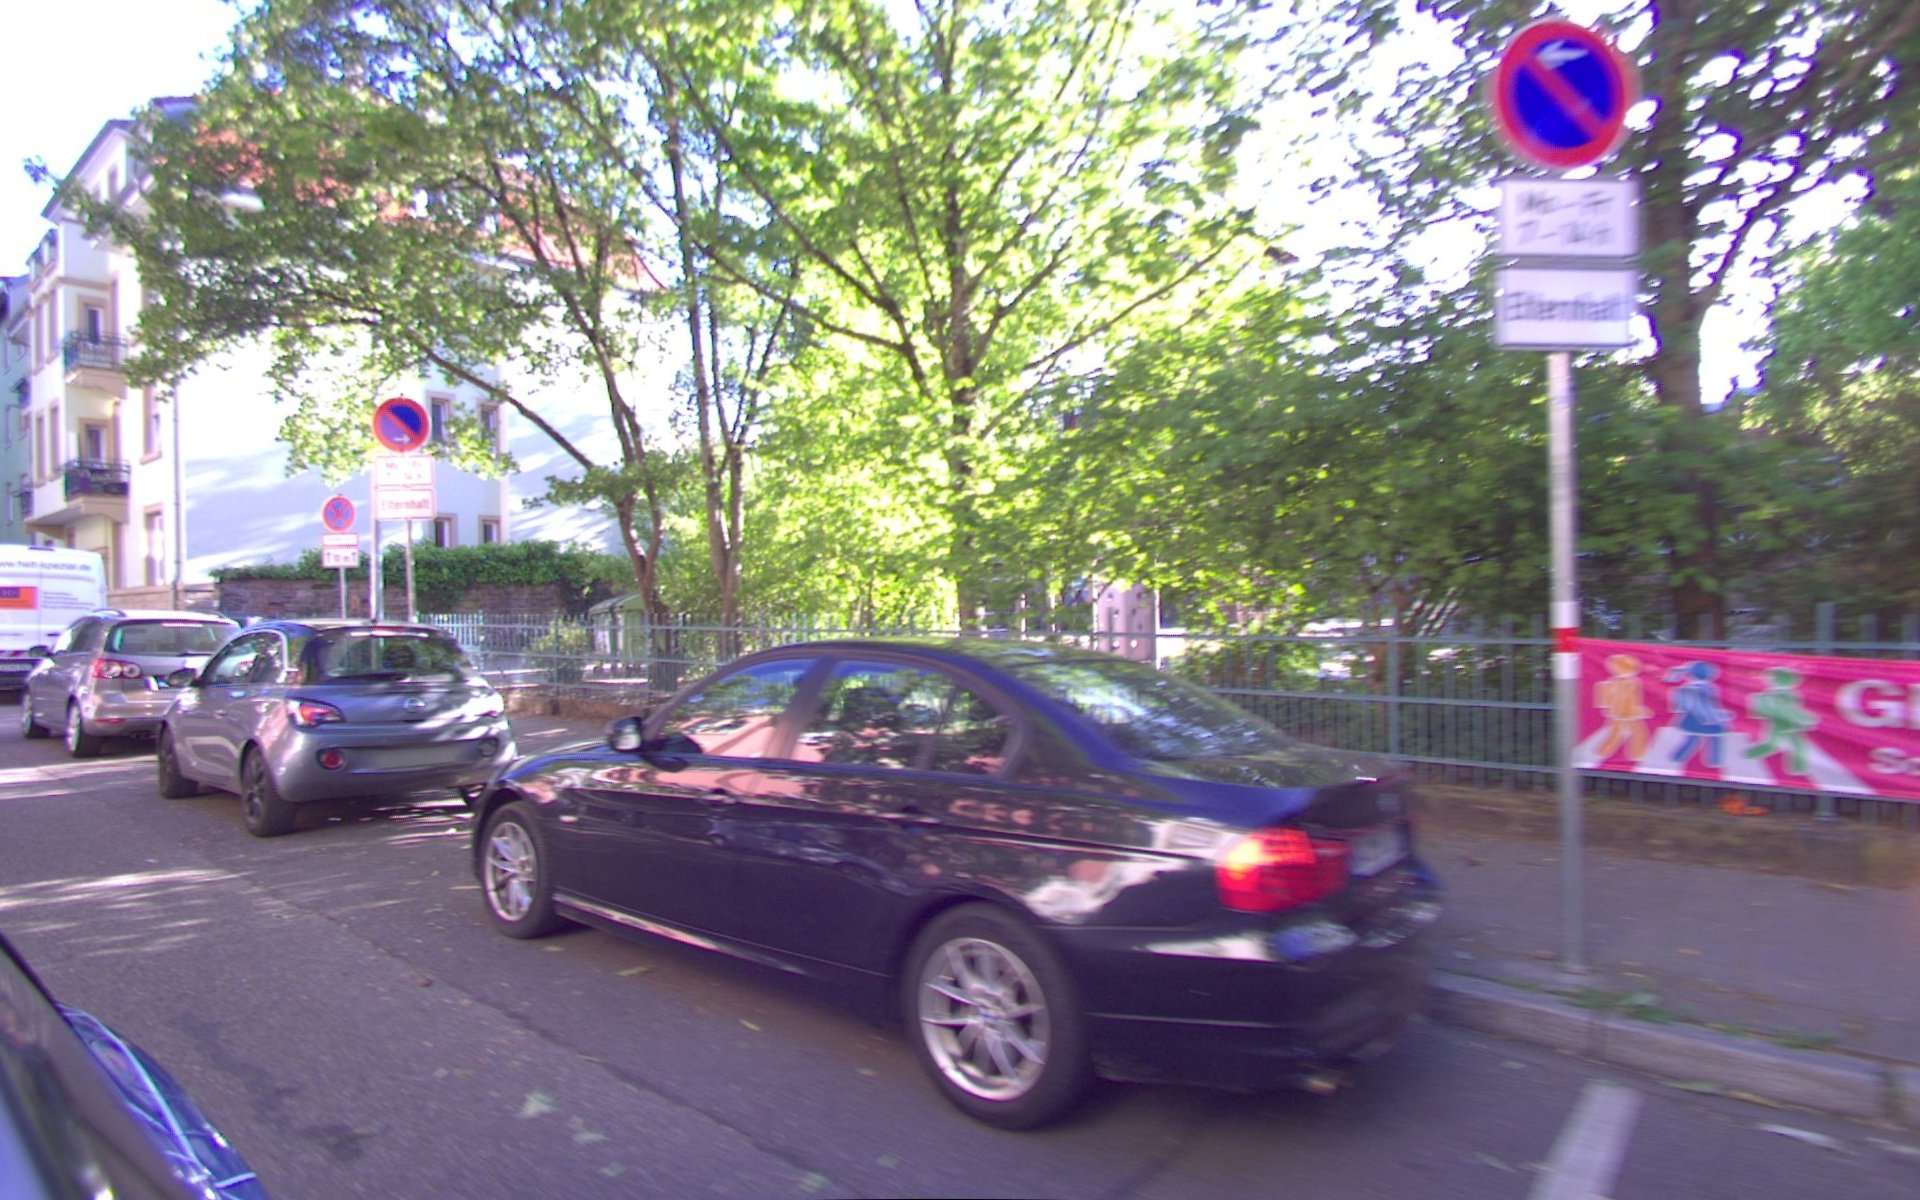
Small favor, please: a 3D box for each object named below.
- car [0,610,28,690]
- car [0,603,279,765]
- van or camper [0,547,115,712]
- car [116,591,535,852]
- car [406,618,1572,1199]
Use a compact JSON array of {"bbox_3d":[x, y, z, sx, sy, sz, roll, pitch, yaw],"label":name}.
[{"bbox_3d":[-22.729,1.101,22.790,4.964,1.698,1.857,-1,-3,39],"label":"car"},{"bbox_3d":[-9.984,0.897,12.156,4.464,1.603,1.762,-1,-3,39],"label":"car"},{"bbox_3d":[-18.170,0.558,19.278,5.846,2.790,2.107,-1,-3,40],"label":"van or camper"},{"bbox_3d":[-5.251,0.814,8.151,4.148,1.585,1.659,-1,-4,41],"label":"car"},{"bbox_3d":[-0.340,0.827,4.213,4.774,1.406,1.697,-1,-4,39],"label":"car"}]
